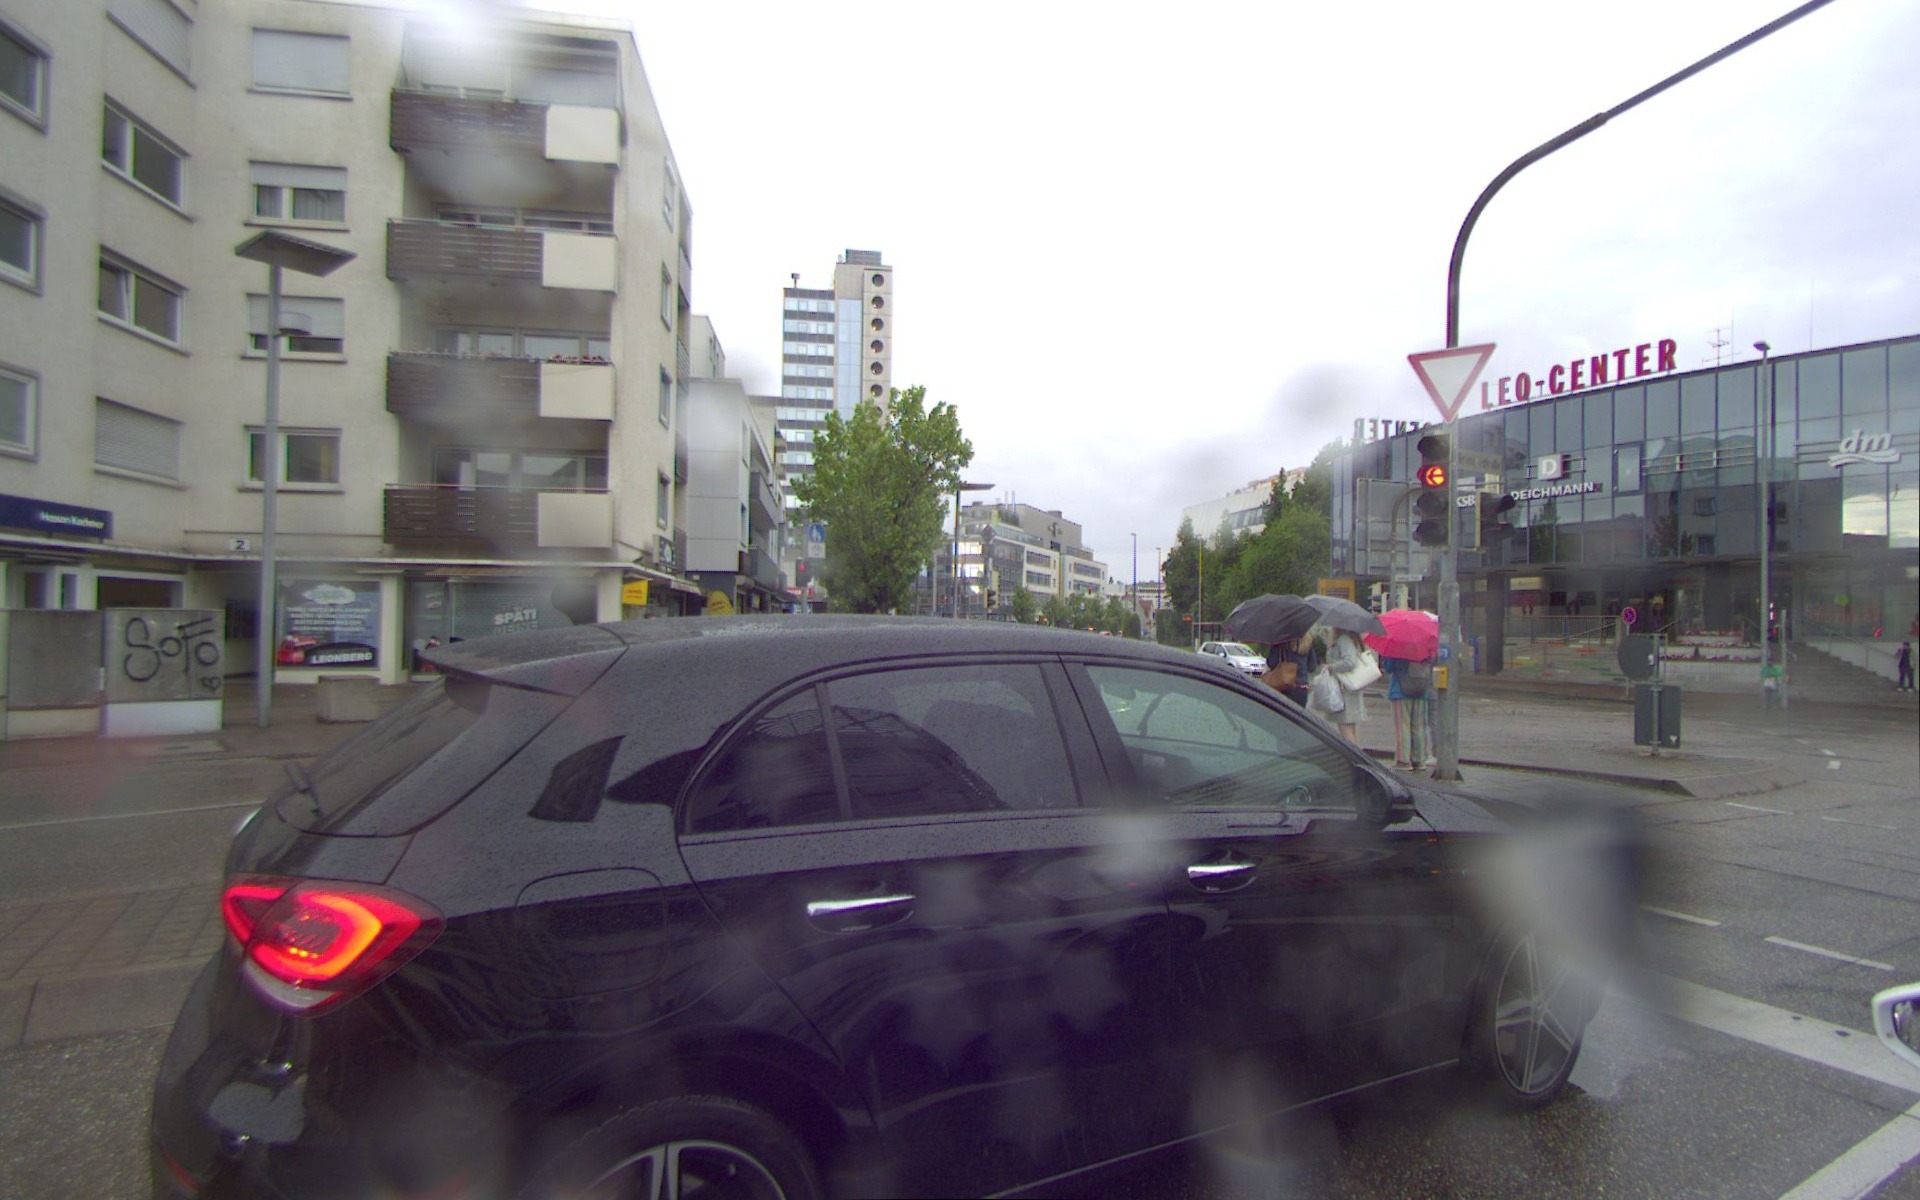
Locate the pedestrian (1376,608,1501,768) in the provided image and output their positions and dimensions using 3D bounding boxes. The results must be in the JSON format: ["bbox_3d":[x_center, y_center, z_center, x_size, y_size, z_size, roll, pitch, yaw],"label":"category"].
[{"bbox_3d":[5.397,0.963,11.350,0.906,1.699,0.931,2,-2,-30],"label":"pedestrian"}]

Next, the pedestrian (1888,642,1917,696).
[{"bbox_3d":[34.382,2.514,36.652,0.589,1.933,0.651,2,-1,-37],"label":"pedestrian"}]

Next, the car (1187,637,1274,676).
[{"bbox_3d":[11.166,2.314,41.739,1.717,1.460,3.980,2,-1,-15],"label":"car"}]

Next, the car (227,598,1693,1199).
[{"bbox_3d":[0.350,0.784,3.074,4.048,1.501,1.654,1,1,-32],"label":"car"}]

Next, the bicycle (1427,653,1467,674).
[{"bbox_3d":[24.488,3.185,50.522,1.822,1.036,0.631,0,-2,-12],"label":"bicycle"}]

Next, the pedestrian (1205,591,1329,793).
[{"bbox_3d":[2.875,0.821,9.371,0.937,1.759,0.835,0,-2,30],"label":"pedestrian"}]

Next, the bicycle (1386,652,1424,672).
[{"bbox_3d":[23.707,3.312,53.554,1.821,0.964,0.535,-1,0,-8],"label":"bicycle"}]

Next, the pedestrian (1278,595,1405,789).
[{"bbox_3d":[3.700,0.864,9.835,0.843,1.767,1.139,1,-2,3],"label":"pedestrian"}]

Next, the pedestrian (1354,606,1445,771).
[{"bbox_3d":[4.752,0.933,10.903,0.790,1.707,0.674,1,-2,14],"label":"pedestrian"}]

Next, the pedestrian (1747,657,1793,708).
[{"bbox_3d":[26.718,2.708,33.142,0.799,1.644,0.945,2,-2,-27],"label":"pedestrian"}]

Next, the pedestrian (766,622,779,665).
[{"bbox_3d":[-7.645,1.764,40.973,0.441,1.746,0.499,1,-2,-12],"label":"pedestrian"}]

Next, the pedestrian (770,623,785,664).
[{"bbox_3d":[-8.198,1.958,45.159,0.557,1.817,0.491,1,-2,-4],"label":"pedestrian"}]

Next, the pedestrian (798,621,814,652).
[{"bbox_3d":[-9.172,2.176,59.820,0.859,1.835,0.923,1,-1,-10],"label":"pedestrian"}]

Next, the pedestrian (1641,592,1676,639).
[{"bbox_3d":[31.163,0.670,44.828,0.820,2.040,0.948,2,0,-19],"label":"pedestrian"}]

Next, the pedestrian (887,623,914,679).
[{"bbox_3d":[-1.814,1.536,30.621,0.799,1.677,0.714,1,-2,-3],"label":"pedestrian"}]

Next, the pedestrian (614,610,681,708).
[{"bbox_3d":[-5.268,0.989,16.929,0.904,1.606,0.651,2,-2,-33],"label":"pedestrian"}]

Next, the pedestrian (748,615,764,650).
[{"bbox_3d":[-11.992,1.914,59.138,0.859,2.040,0.923,1,-1,-10],"label":"pedestrian"}]

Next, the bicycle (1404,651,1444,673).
[{"bbox_3d":[24.088,3.223,52.146,1.822,1.056,0.646,-1,-1,-12],"label":"bicycle"}]

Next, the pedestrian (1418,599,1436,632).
[{"bbox_3d":[25.236,0.849,54.299,0.642,1.736,0.599,2,0,-6],"label":"pedestrian"}]

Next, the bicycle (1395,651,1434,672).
[{"bbox_3d":[23.936,3.227,52.888,1.822,1.047,0.628,-1,-1,-12],"label":"bicycle"}]

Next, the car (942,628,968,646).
[{"bbox_3d":[-0.417,2.931,80.542,1.414,1.314,3.770,2,-1,-11],"label":"car"}]

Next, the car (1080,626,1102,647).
[{"bbox_3d":[12.500,3.459,96.202,2.008,1.921,4.141,1,-1,6],"label":"car"}]

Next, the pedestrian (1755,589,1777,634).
[{"bbox_3d":[33.475,0.469,41.719,0.625,1.831,0.501,2,0,43],"label":"pedestrian"}]

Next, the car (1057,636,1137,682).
[{"bbox_3d":[4.758,2.053,35.709,2.082,1.432,5.147,2,-2,0],"label":"car"}]
